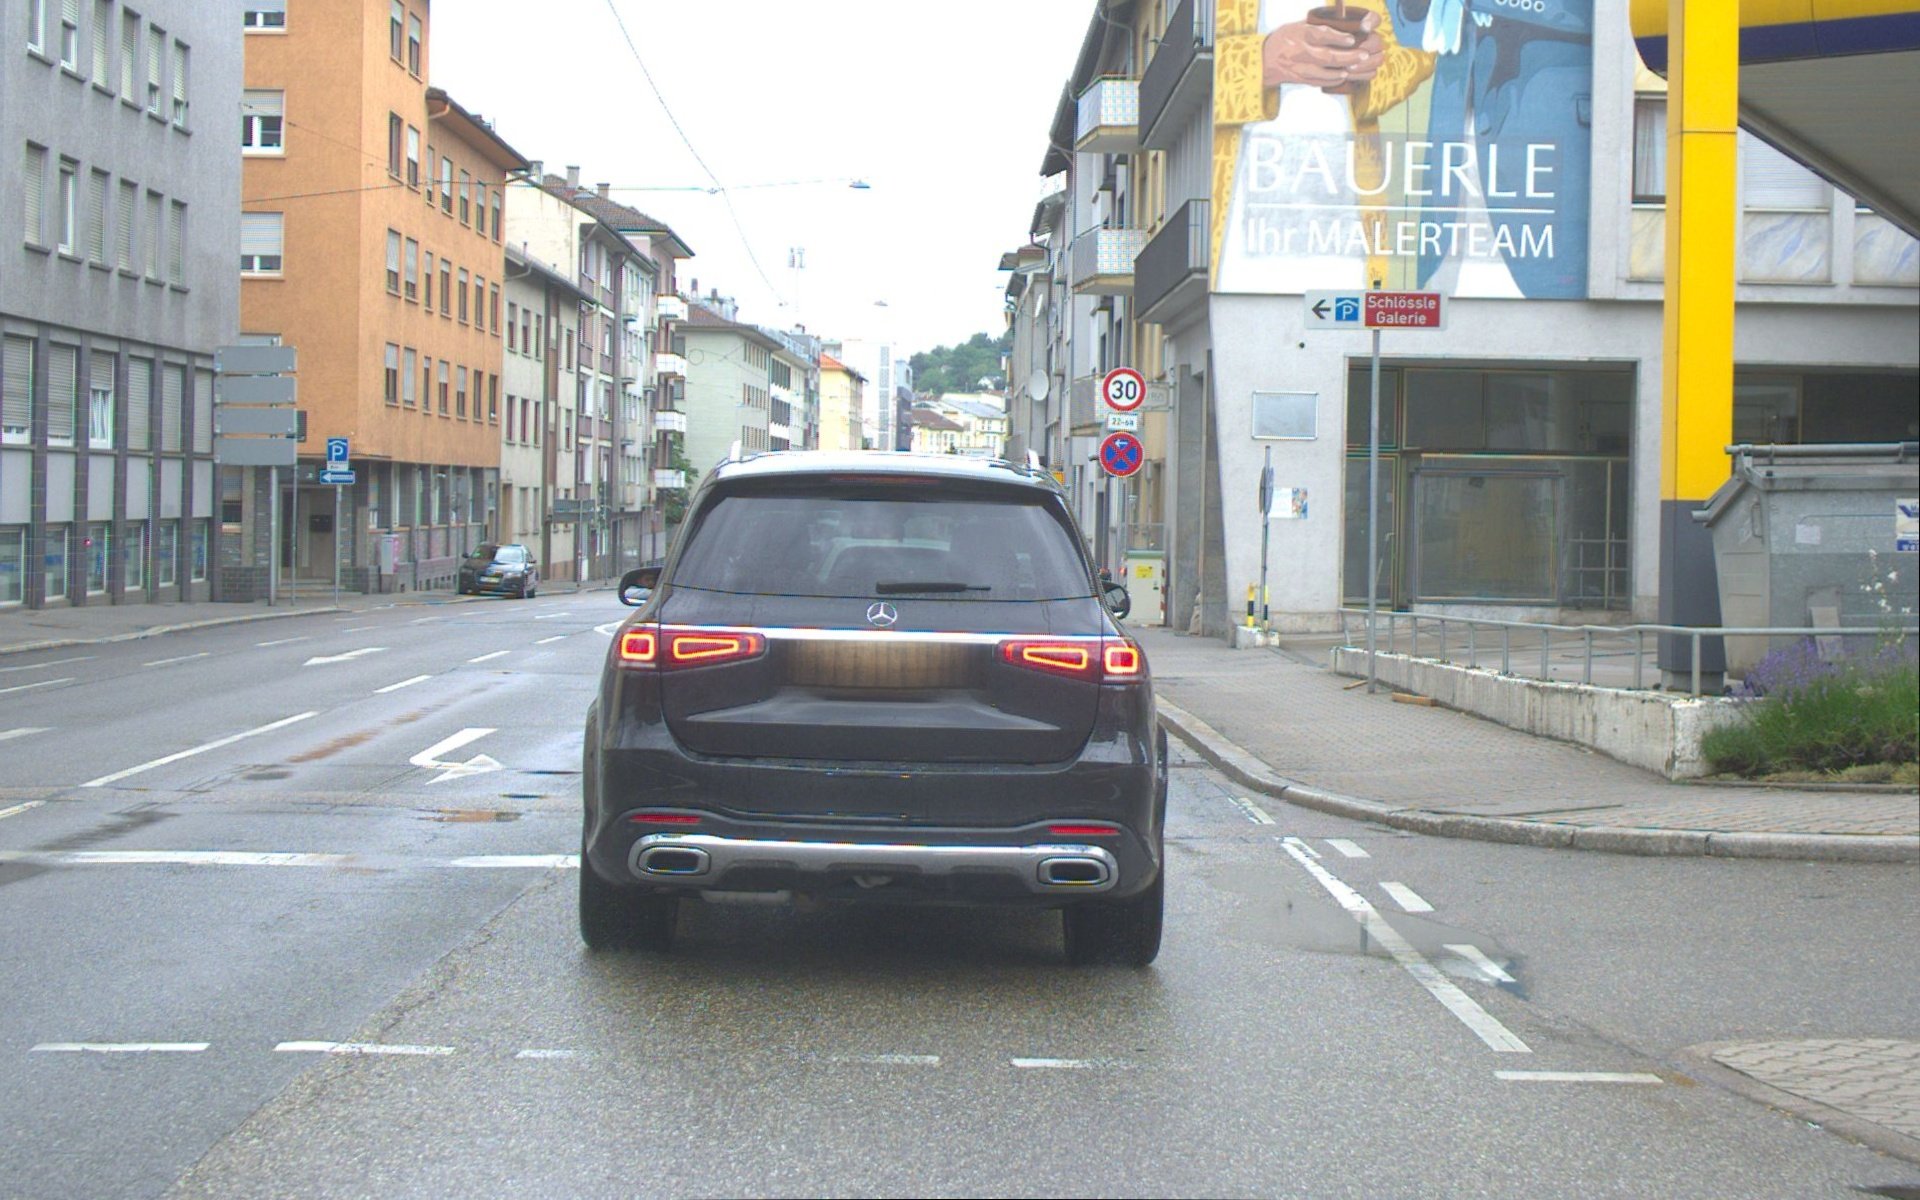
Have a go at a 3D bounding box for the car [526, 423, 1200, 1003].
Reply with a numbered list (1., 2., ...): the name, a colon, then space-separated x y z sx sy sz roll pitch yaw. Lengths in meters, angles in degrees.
1. car: -0.342 0.307 13.325 2.076 1.759 4.611 3 1 -1

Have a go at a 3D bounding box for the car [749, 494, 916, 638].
1. car: -1.683 -0.502 46.751 2.076 1.759 4.611 3 1 -1

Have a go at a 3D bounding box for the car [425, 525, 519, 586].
1. car: -12.674 -1.168 89.487 1.891 1.453 4.550 3 1 -2

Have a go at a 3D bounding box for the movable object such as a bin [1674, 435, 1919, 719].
1. movable object such as a bin: 5.432 -0.138 20.021 2.155 1.569 1.773 1 1 0

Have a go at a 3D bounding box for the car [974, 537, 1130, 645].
1. car: 1.311 -0.167 50.982 1.893 1.398 4.609 -3 1 -3

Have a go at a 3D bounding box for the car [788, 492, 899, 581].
1. car: -2.328 -1.300 69.610 2.076 1.644 4.295 3 1 -1
